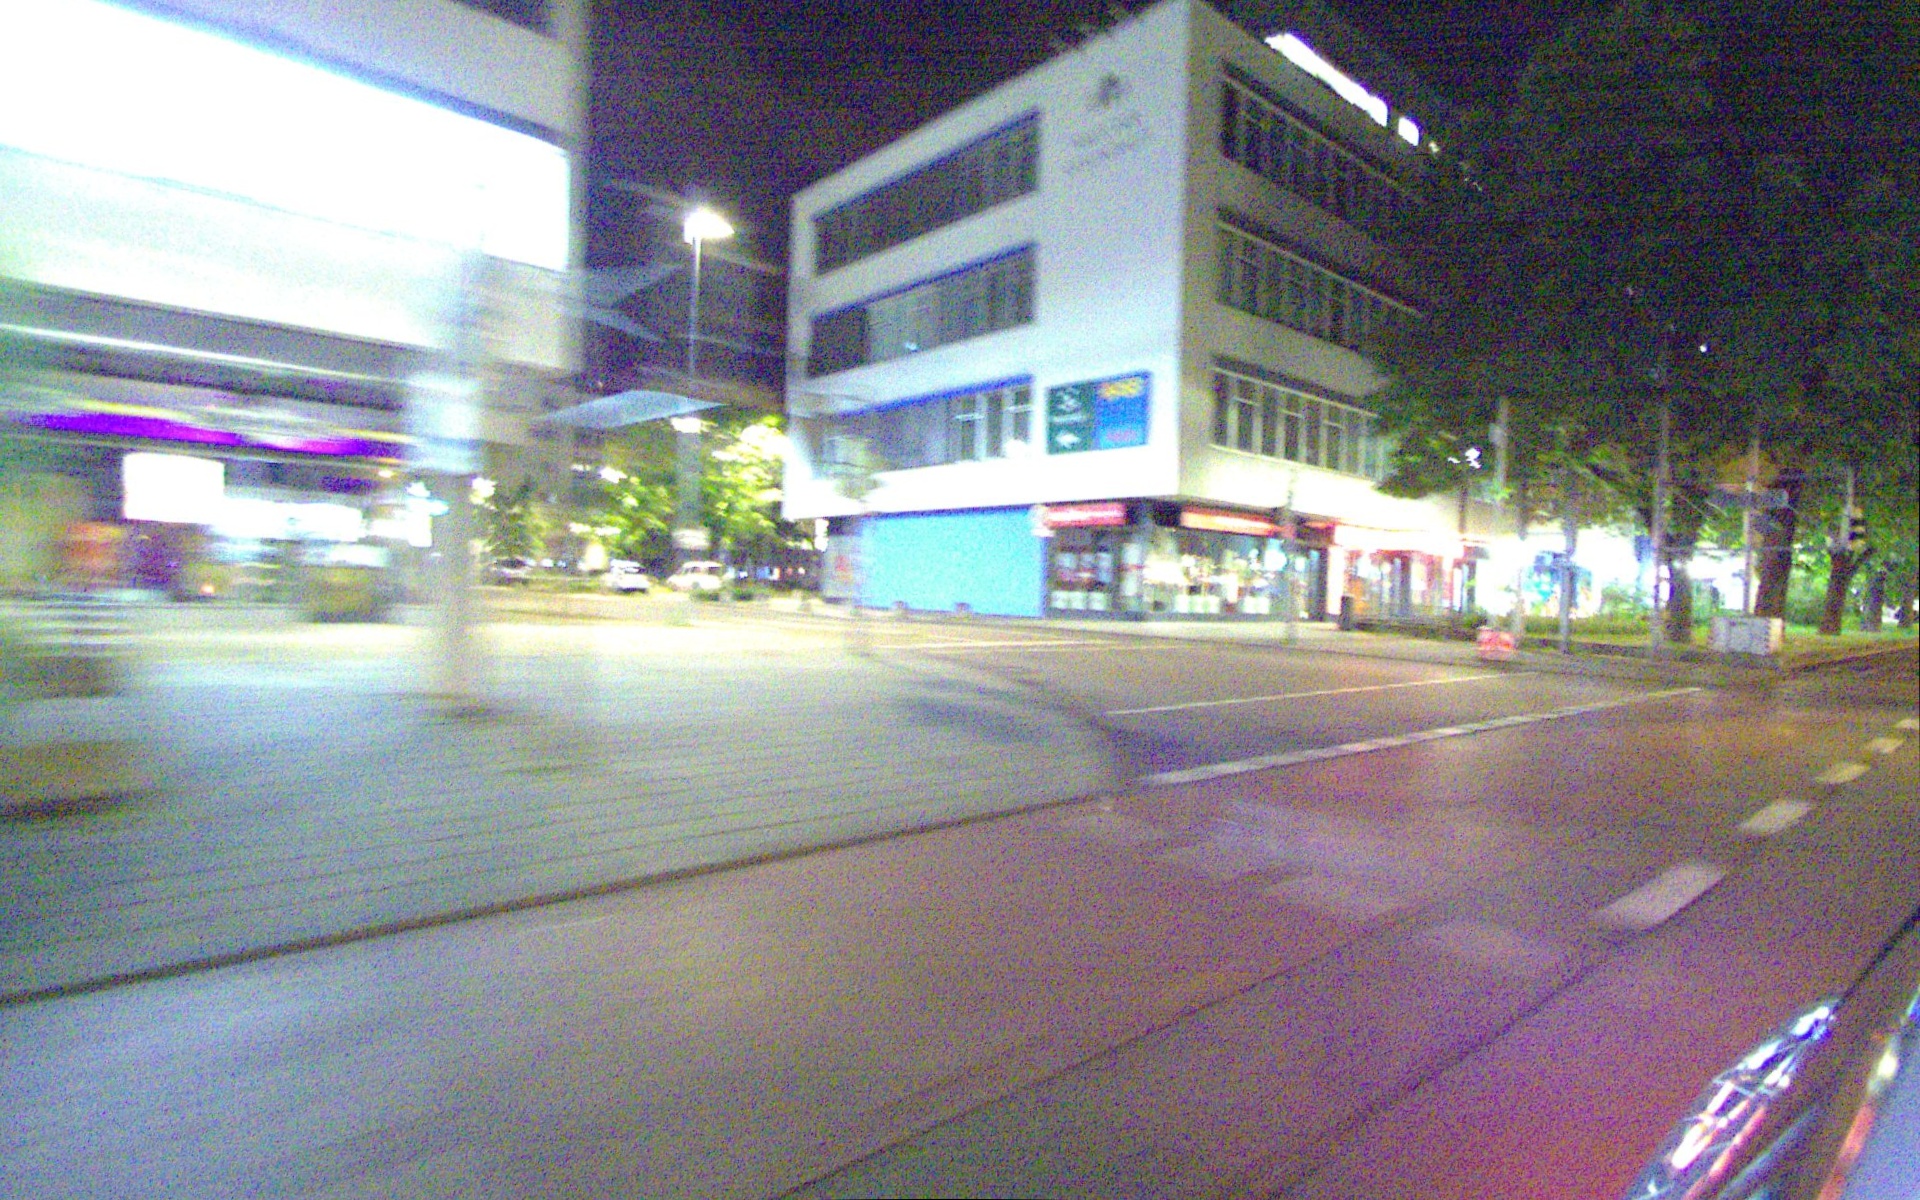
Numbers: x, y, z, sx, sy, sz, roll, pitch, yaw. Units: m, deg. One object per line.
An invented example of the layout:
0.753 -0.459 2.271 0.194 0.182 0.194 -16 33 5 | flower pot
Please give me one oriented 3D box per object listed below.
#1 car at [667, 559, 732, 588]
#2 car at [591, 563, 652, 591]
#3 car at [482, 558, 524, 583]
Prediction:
-15.712 -1.610 61.018 4.156 1.680 1.887 3 2 44 | car
-17.884 -1.224 53.362 1.882 1.401 3.998 0 2 -38 | car
-28.798 -1.866 63.737 1.960 1.527 4.005 1 2 -31 | car
